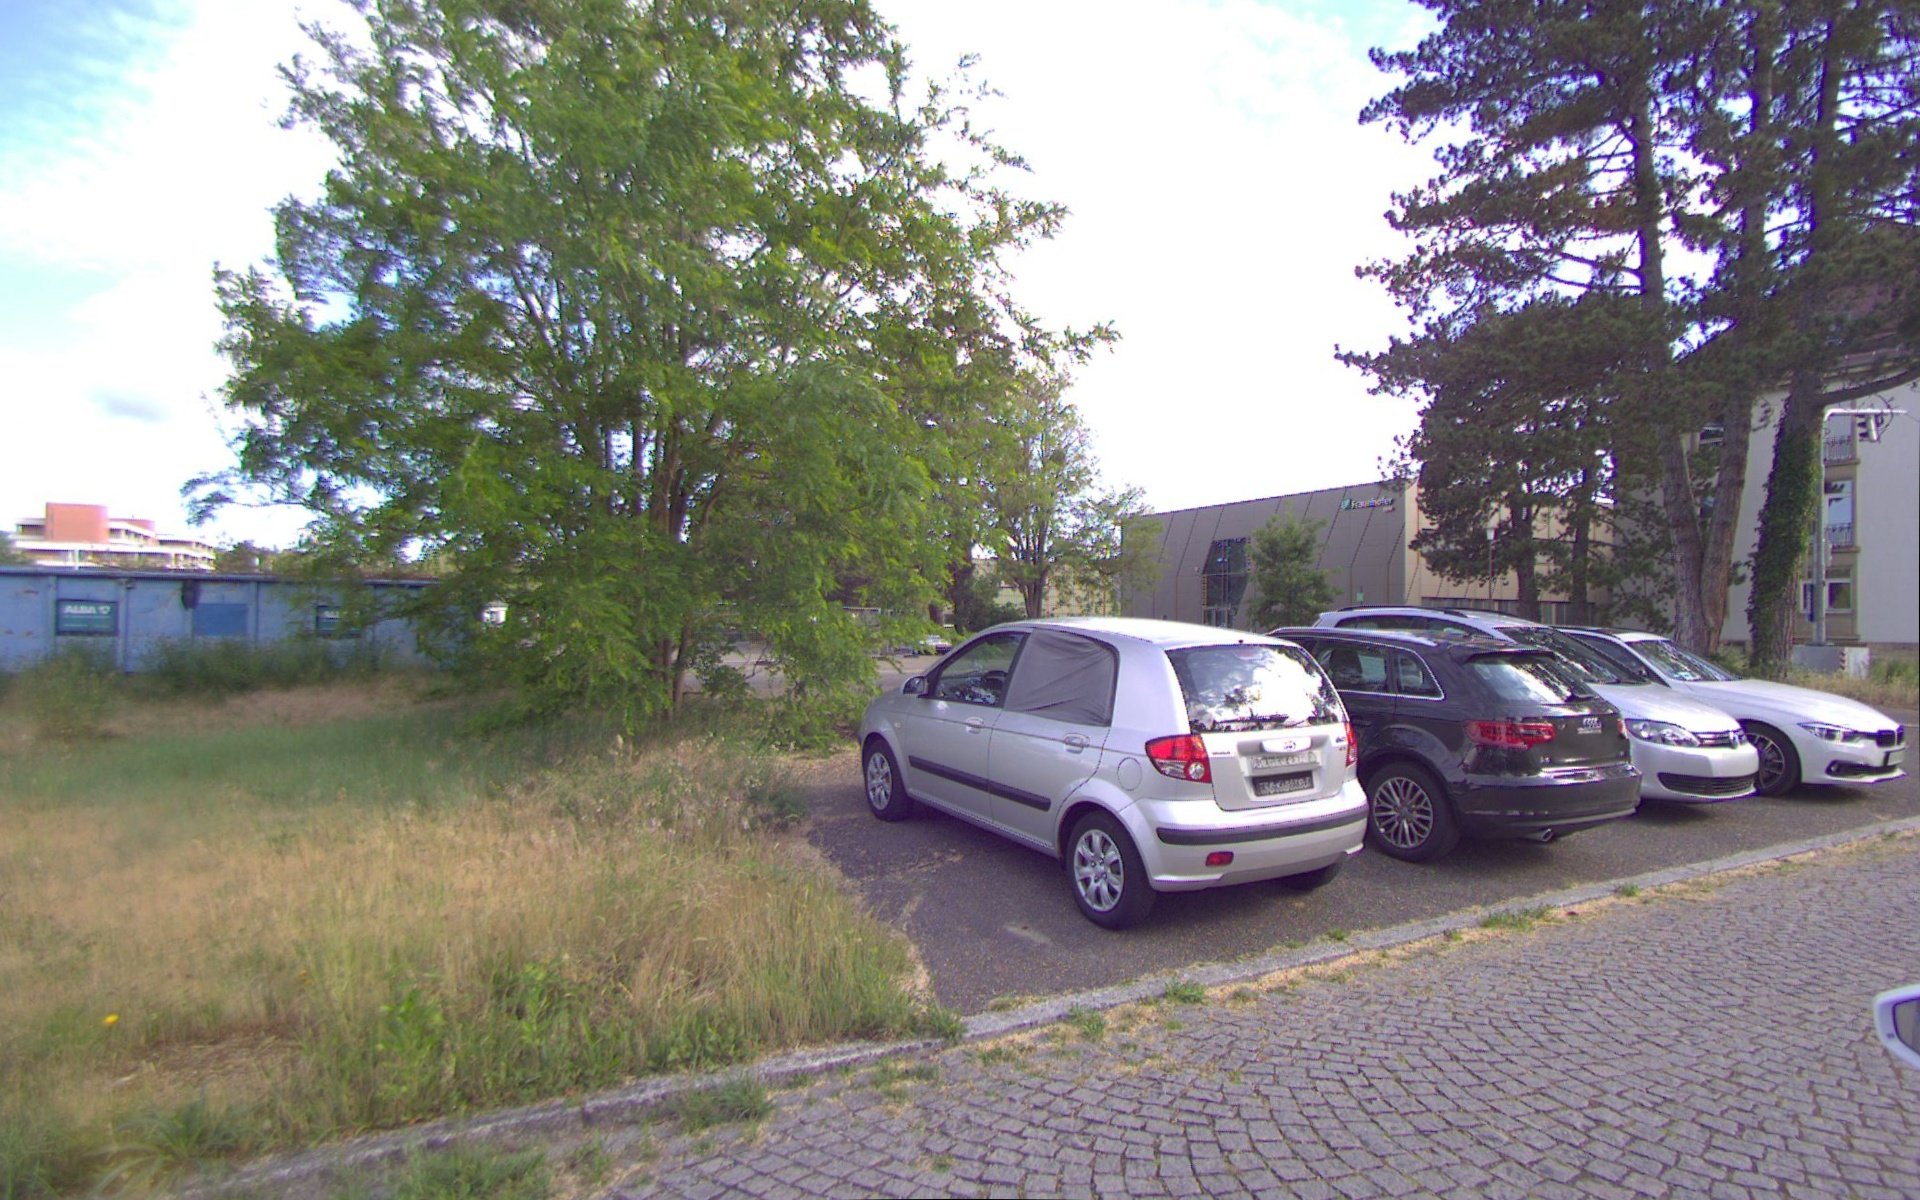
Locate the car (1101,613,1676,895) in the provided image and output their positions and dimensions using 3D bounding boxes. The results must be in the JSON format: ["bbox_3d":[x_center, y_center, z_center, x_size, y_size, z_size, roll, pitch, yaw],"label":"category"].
[{"bbox_3d":[2.930,0.902,7.718,1.675,1.427,3.818,1,1,-29],"label":"car"}]

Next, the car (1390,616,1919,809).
[{"bbox_3d":[7.198,0.993,10.845,1.810,1.461,4.453,1,1,-32],"label":"car"}]

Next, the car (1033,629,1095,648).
[{"bbox_3d":[7.240,2.701,70.006,4.142,1.289,1.600,1,-1,-26],"label":"car"}]

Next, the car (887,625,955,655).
[{"bbox_3d":[-1.903,1.910,48.147,1.575,1.355,3.708,1,-2,-34],"label":"car"}]

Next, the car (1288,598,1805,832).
[{"bbox_3d":[5.198,0.855,9.427,1.716,1.629,3.811,1,1,-31],"label":"car"}]

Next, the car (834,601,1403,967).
[{"bbox_3d":[0.687,0.827,6.348,1.628,1.495,3.558,1,1,-31],"label":"car"}]

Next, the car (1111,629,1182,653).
[{"bbox_3d":[11.506,2.502,61.900,4.077,1.433,1.752,1,-1,-26],"label":"car"}]
